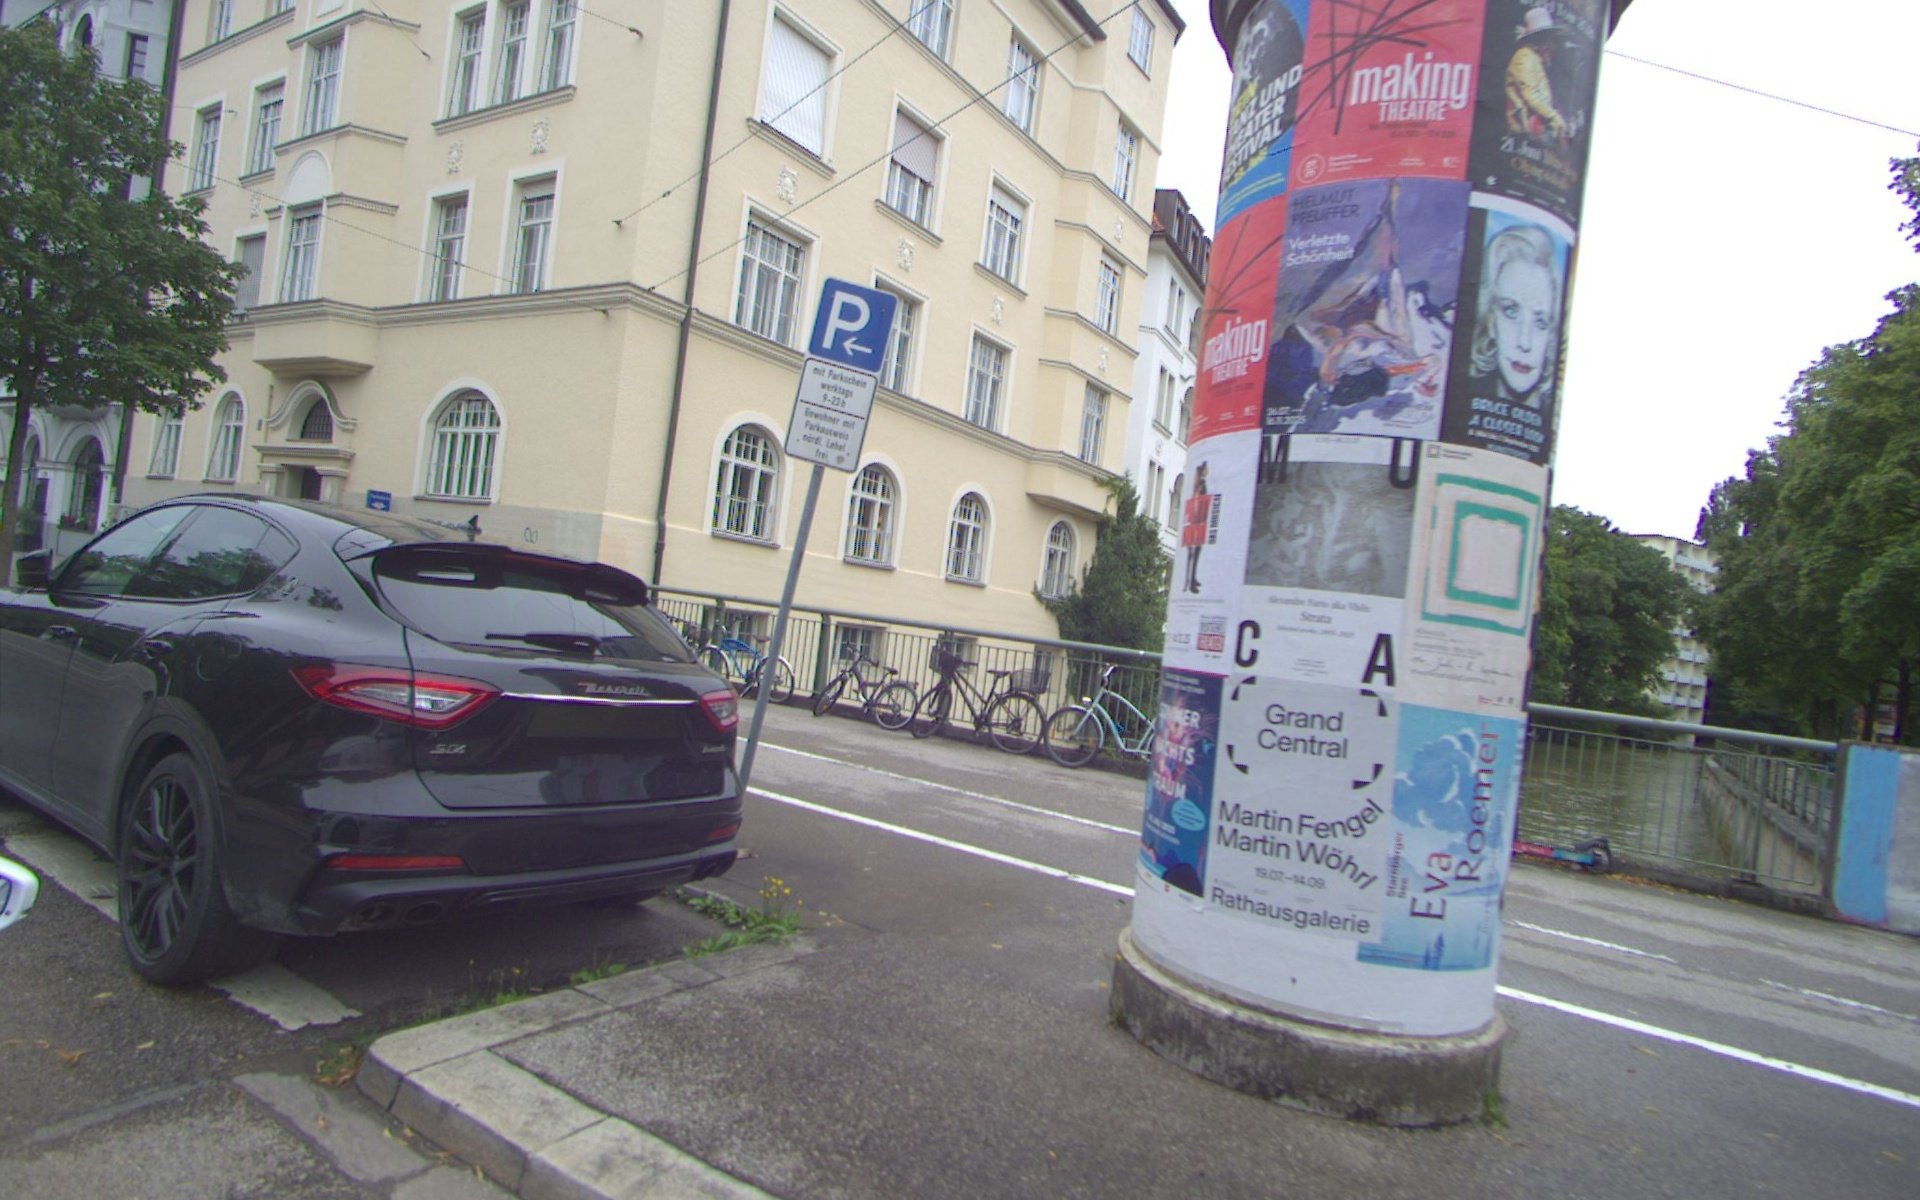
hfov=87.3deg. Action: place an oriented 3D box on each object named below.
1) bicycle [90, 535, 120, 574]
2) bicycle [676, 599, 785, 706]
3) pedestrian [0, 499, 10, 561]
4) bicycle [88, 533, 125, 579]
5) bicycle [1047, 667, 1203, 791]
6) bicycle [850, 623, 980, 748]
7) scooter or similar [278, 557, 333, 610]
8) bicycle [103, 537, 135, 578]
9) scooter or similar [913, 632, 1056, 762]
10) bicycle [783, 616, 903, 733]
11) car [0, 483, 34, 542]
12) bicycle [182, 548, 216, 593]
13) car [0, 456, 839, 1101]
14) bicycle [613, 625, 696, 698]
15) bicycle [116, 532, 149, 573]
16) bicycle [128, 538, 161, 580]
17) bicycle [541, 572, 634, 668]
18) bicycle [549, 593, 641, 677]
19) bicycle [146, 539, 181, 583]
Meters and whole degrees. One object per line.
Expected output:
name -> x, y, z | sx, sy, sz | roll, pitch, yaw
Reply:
bicycle -> -22.304, -1.180, 26.238 | 0.871, 0.941, 0.259 | 6, -2, 34
bicycle -> -3.177, 0.716, 13.882 | 1.384, 1.296, 0.283 | 7, -2, 21
pedestrian -> -27.945, -2.065, 28.821 | 0.829, 1.751, 0.706 | 6, -2, 32
bicycle -> -21.271, -1.095, 25.069 | 1.203, 1.050, 0.242 | 6, -2, 33
bicycle -> 1.762, 1.365, 10.797 | 1.513, 1.094, 0.265 | 7, -2, 17
bicycle -> -0.539, 1.019, 12.071 | 1.383, 1.296, 0.283 | 7, -2, 13
scooter or similar -> -13.298, -0.323, 20.447 | 0.538, 0.957, 0.663 | 6, -3, 34
bicycle -> -21.533, -1.090, 25.741 | 0.871, 0.941, 0.291 | 6, -2, 34
scooter or similar -> 0.282, 1.104, 11.552 | 1.467, 1.277, 0.245 | 7, -2, 10
bicycle -> -1.491, 0.932, 12.775 | 1.384, 1.296, 0.283 | 7, -2, 21
car -> -47.897, -4.566, 47.649 | 2.193, 2.641, 5.312 | 6, -3, 29
bicycle -> -17.332, -0.681, 22.911 | 0.871, 0.941, 0.222 | 6, -2, 32
car -> -3.031, 0.382, 4.679 | 4.589, 1.627, 1.905 | 7, -3, 33
bicycle -> -4.497, 0.900, 14.815 | 1.122, 0.948, 0.249 | 6, 2, 11
bicycle -> -20.737, -1.187, 25.208 | 0.872, 0.941, 0.306 | 6, -2, 34
bicycle -> -19.983, -1.015, 24.638 | 0.871, 0.941, 0.273 | 6, -2, 34
bicycle -> -5.839, 0.304, 15.726 | 1.511, 1.327, 0.333 | 6, -2, 31
bicycle -> -5.613, 0.528, 15.438 | 1.417, 1.119, 0.287 | 6, -1, 25
bicycle -> -18.911, -0.927, 23.879 | 0.871, 0.941, 0.286 | 6, -2, 34
